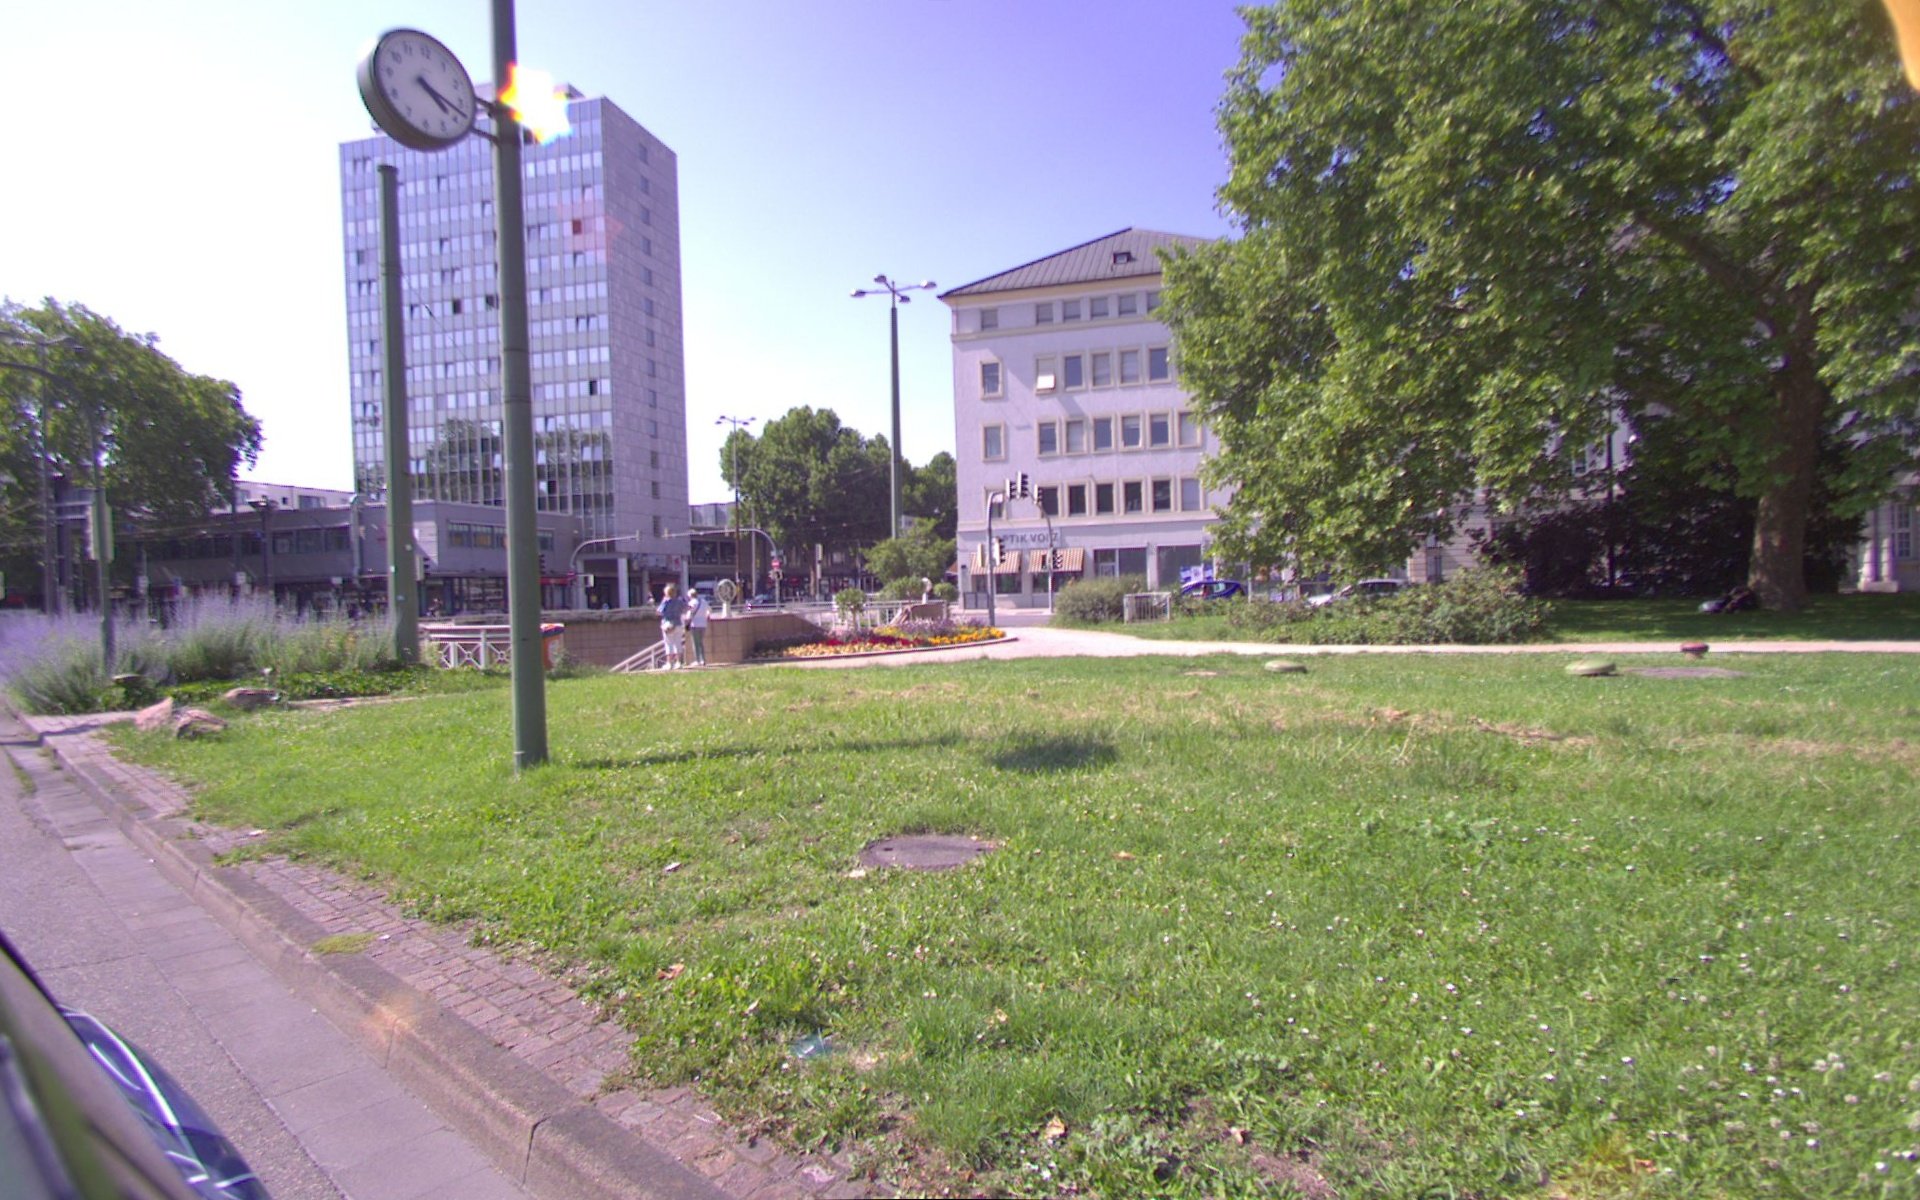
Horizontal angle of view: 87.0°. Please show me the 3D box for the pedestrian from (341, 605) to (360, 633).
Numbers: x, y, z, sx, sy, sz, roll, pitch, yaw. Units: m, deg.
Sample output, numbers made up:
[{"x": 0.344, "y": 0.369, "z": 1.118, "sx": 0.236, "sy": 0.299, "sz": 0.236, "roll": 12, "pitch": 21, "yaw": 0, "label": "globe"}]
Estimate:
[{"x": -39.802, "y": 1.234, "z": 66.051, "sx": 0.664, "sy": 1.850, "sz": 0.820, "roll": -1, "pitch": 0, "yaw": 13, "label": "pedestrian"}]

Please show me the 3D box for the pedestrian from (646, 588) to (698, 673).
[{"x": -5.547, "y": 0.581, "z": 19.503, "sx": 0.597, "sy": 1.605, "sz": 0.686, "roll": -2, "pitch": 0, "yaw": 26, "label": "pedestrian"}]

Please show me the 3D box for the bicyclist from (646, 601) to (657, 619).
[{"x": -25.814, "y": 0.821, "z": 84.676, "sx": 0.579, "sy": 1.538, "sz": 0.678, "roll": 0, "pitch": 1, "yaw": 25, "label": "bicyclist"}]

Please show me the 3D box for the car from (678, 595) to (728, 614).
[{"x": -21.935, "y": 0.380, "z": 86.474, "sx": 1.873, "sy": 1.471, "sz": 4.126, "roll": -2, "pitch": 1, "yaw": 27, "label": "car"}]

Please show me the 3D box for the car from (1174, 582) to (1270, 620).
[{"x": 10.215, "y": 0.038, "z": 39.592, "sx": 3.550, "sy": 1.356, "sz": 1.604, "roll": -2, "pitch": 1, "yaw": 14, "label": "car"}]

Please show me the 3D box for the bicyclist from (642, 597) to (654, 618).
[{"x": -26.695, "y": 0.608, "z": 86.674, "sx": 0.694, "sy": 1.781, "sz": 0.677, "roll": 0, "pitch": 1, "yaw": 31, "label": "bicyclist"}]

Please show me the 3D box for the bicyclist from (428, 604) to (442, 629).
[{"x": -36.574, "y": 1.120, "z": 70.480, "sx": 0.584, "sy": 1.700, "sz": 0.674, "roll": -2, "pitch": 0, "yaw": 44, "label": "bicyclist"}]

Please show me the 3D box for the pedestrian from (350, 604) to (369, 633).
[{"x": -38.834, "y": 1.195, "z": 65.436, "sx": 0.664, "sy": 1.850, "sz": 0.820, "roll": -1, "pitch": 0, "yaw": 13, "label": "pedestrian"}]

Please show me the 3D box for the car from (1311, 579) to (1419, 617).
[{"x": 15.173, "y": -0.086, "z": 38.088, "sx": 3.550, "sy": 1.278, "sz": 1.604, "roll": -2, "pitch": 1, "yaw": 14, "label": "car"}]

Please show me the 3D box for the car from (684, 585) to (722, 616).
[{"x": -25.470, "y": -0.030, "z": 100.351, "sx": 1.729, "sy": 2.938, "sz": 4.620, "roll": -2, "pitch": 1, "yaw": 11, "label": "car"}]

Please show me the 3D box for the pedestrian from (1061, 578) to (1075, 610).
[{"x": 6.012, "y": -0.322, "z": 56.414, "sx": 0.635, "sy": 1.772, "sz": 0.592, "roll": -1, "pitch": 0, "yaw": 15, "label": "pedestrian"}]

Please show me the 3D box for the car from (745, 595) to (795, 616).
[{"x": -15.297, "y": 0.429, "z": 81.529, "sx": 1.873, "sy": 1.545, "sz": 4.042, "roll": -2, "pitch": 1, "yaw": 27, "label": "car"}]

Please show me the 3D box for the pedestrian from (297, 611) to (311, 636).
[{"x": -43.410, "y": 1.530, "z": 67.006, "sx": 0.598, "sy": 1.650, "sz": 0.559, "roll": -1, "pitch": 0, "yaw": 34, "label": "pedestrian"}]

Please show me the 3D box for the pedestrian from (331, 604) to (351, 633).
[{"x": -40.521, "y": 1.227, "z": 66.259, "sx": 0.728, "sy": 1.850, "sz": 0.820, "roll": -1, "pitch": 0, "yaw": 13, "label": "pedestrian"}]

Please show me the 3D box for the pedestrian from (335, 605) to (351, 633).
[{"x": -41.711, "y": 1.273, "z": 68.435, "sx": 0.810, "sy": 1.820, "sz": 0.672, "roll": -1, "pitch": 0, "yaw": -38, "label": "pedestrian"}]

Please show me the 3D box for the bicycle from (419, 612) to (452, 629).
[{"x": -36.550, "y": 1.415, "z": 70.496, "sx": 0.577, "sy": 1.110, "sz": 1.941, "roll": -2, "pitch": 1, "yaw": 44, "label": "bicycle"}]

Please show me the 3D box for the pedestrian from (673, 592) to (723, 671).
[{"x": -5.204, "y": 0.609, "z": 20.140, "sx": 0.472, "sy": 1.521, "sz": 0.844, "roll": -2, "pitch": 0, "yaw": 26, "label": "pedestrian"}]

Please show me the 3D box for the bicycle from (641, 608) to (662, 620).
[{"x": -25.803, "y": 1.147, "z": 84.697, "sx": 0.589, "sy": 0.889, "sz": 1.796, "roll": 0, "pitch": 1, "yaw": 24, "label": "bicycle"}]
